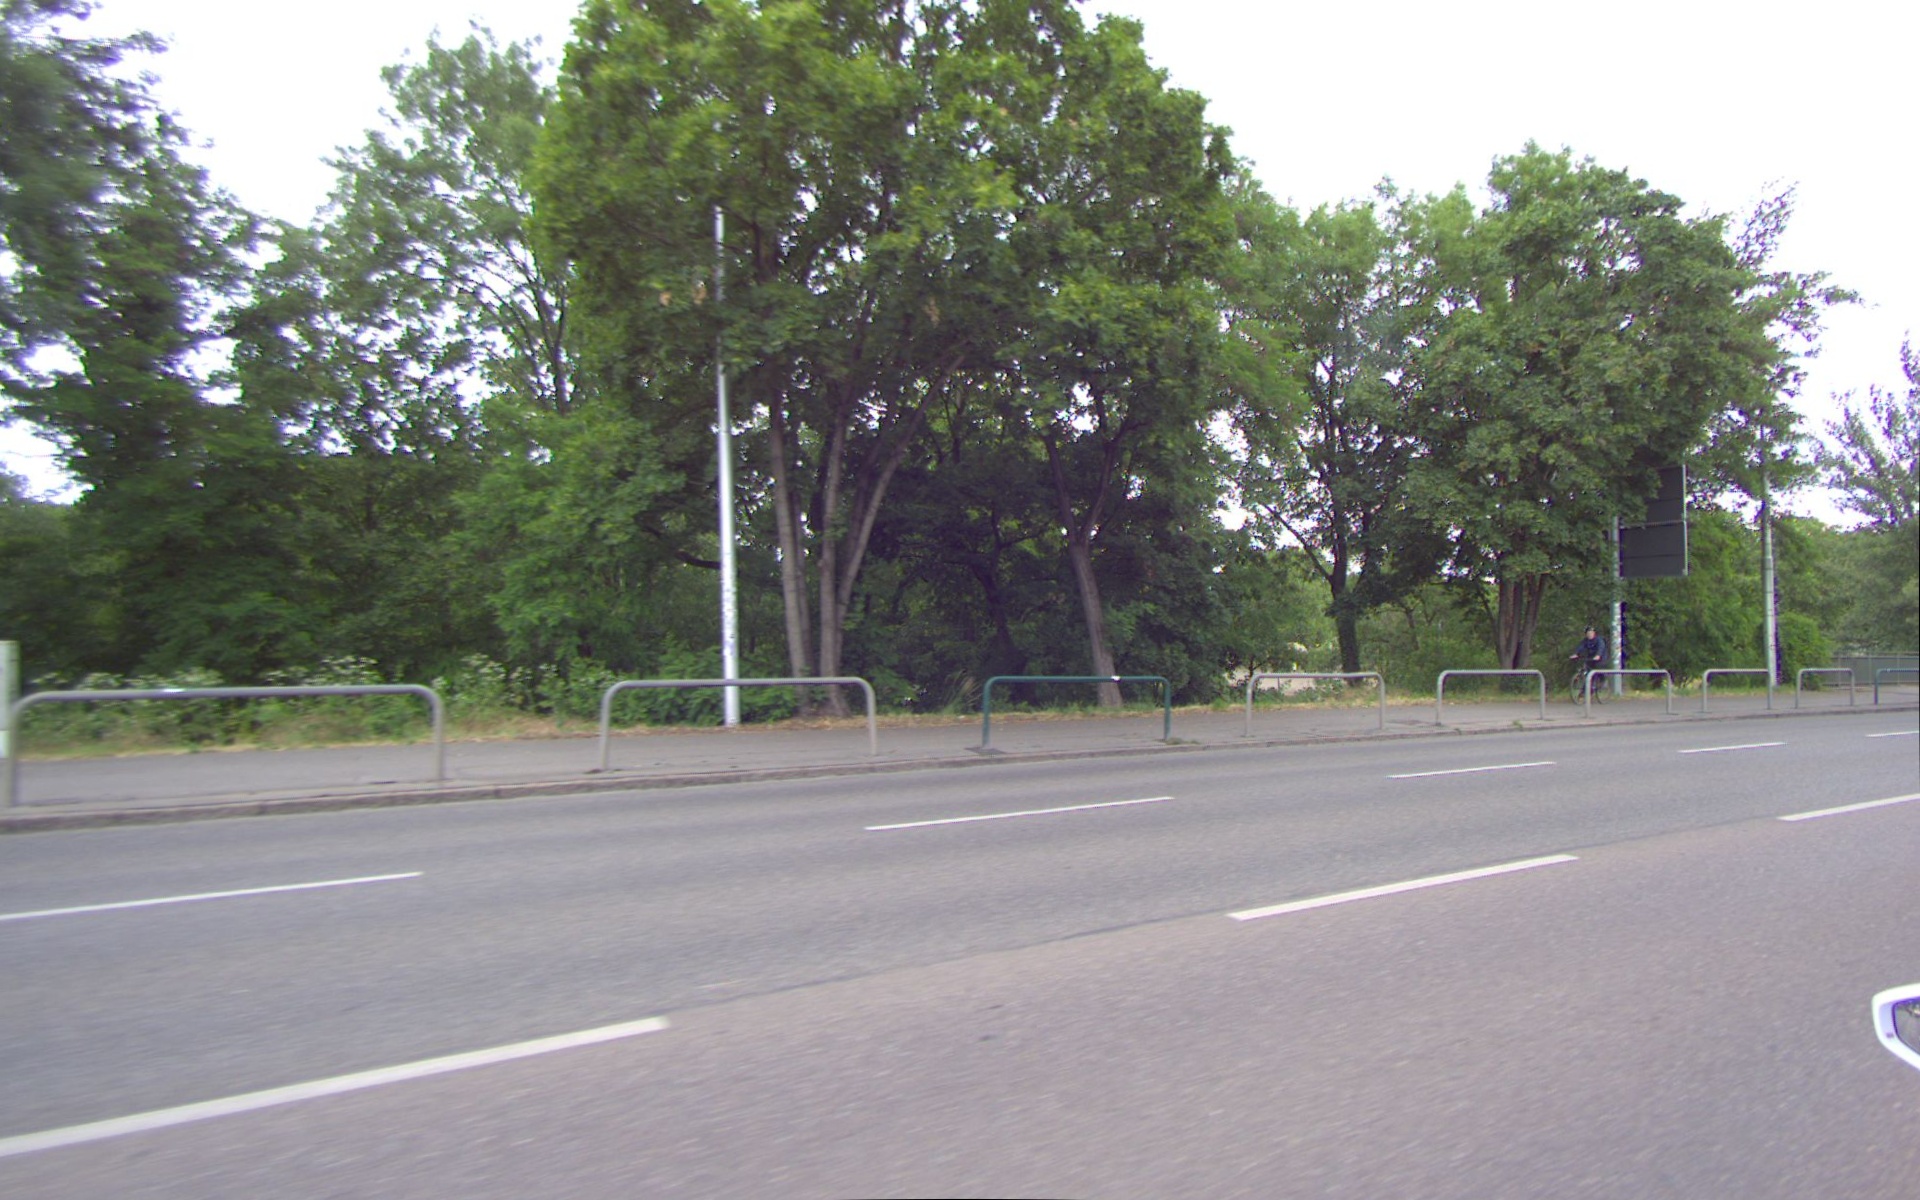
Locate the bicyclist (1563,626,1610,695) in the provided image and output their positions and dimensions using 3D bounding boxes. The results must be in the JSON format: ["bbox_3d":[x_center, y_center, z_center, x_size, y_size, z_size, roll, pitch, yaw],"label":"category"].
[{"bbox_3d":[14.225,1.362,22.797,0.973,1.536,0.512,1,-2,-31],"label":"bicyclist"}]

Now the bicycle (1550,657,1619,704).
[{"bbox_3d":[14.170,1.812,22.767,1.979,1.015,0.482,2,-2,-31],"label":"bicycle"}]
